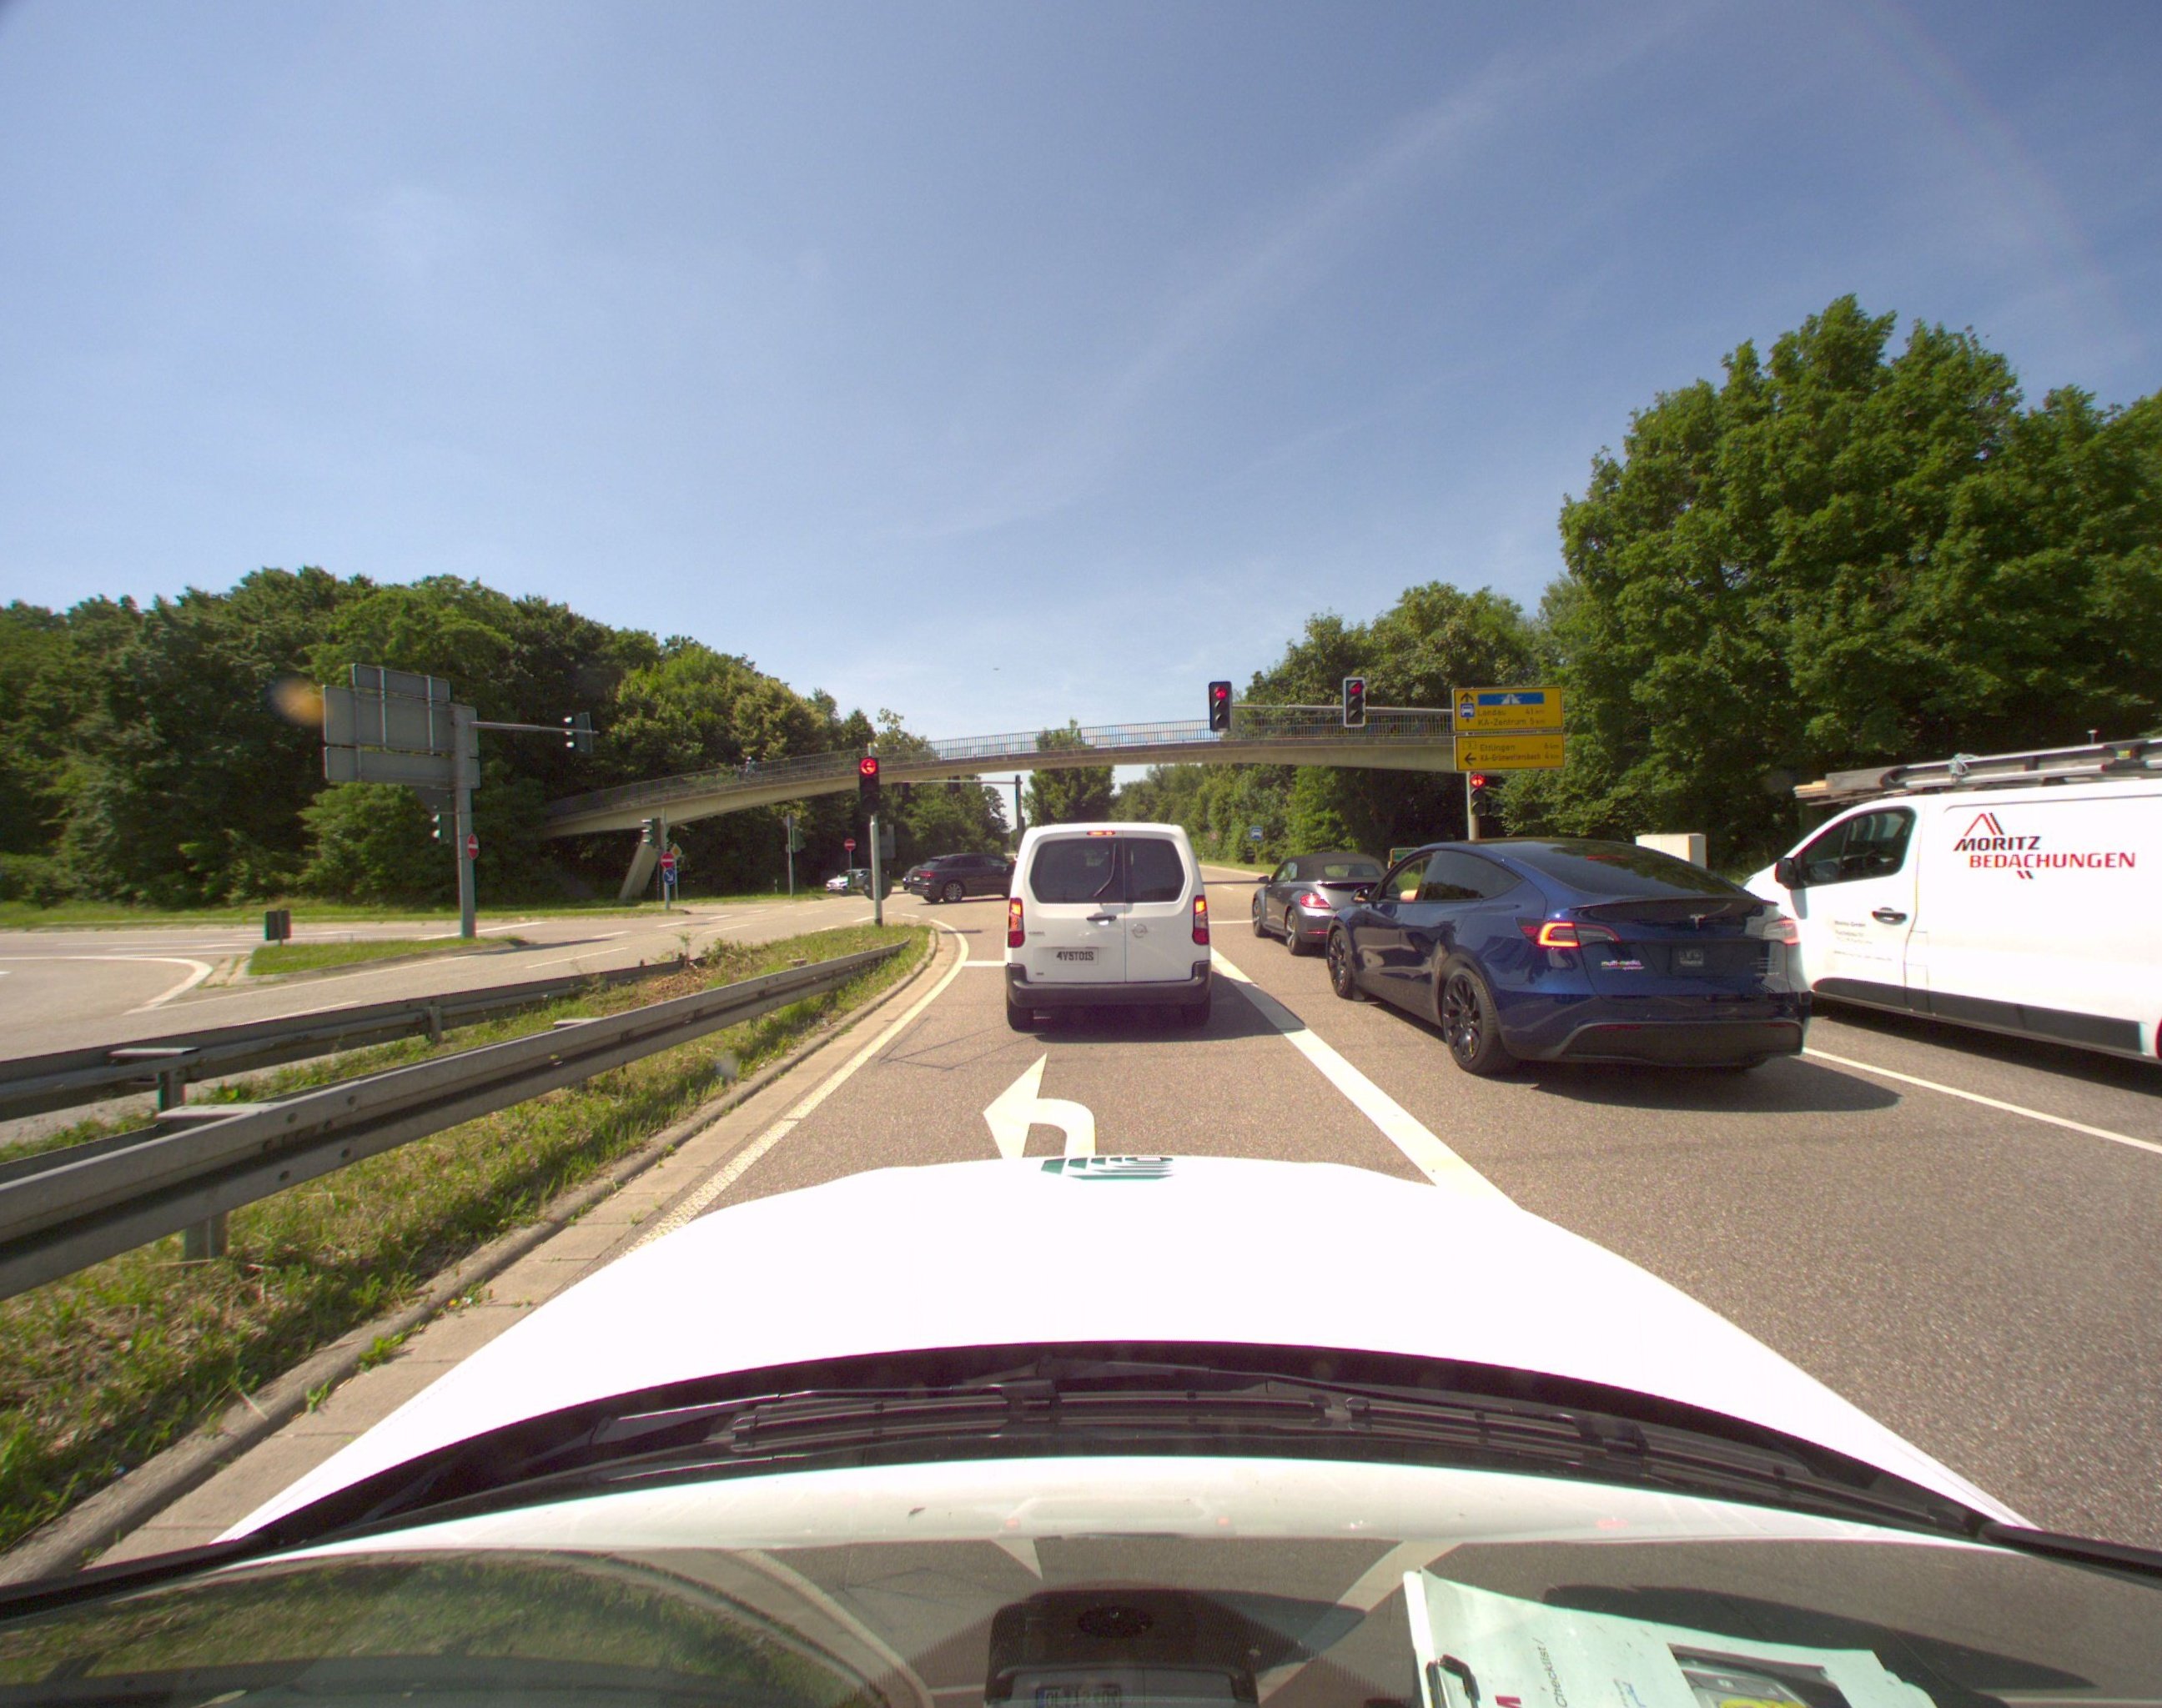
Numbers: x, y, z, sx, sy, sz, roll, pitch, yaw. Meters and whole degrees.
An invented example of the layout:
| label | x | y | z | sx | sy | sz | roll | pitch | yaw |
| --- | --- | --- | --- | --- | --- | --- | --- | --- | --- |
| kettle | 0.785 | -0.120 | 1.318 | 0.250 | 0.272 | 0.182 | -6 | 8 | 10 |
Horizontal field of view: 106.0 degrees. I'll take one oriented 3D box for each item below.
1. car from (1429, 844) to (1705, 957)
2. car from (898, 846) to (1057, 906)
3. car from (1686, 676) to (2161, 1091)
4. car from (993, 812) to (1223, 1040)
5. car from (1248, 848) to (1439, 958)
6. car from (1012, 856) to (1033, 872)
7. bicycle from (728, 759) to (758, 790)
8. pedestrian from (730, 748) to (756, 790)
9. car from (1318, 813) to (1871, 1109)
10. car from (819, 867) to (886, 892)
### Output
| label | x | y | z | sx | sy | sz | roll | pitch | yaw |
| --- | --- | --- | --- | --- | --- | --- | --- | --- | --- |
| car | 7.385 | 0.615 | 12.991 | 1.893 | 1.478 | 4.382 | -1 | 0 | 2 |
| car | -3.581 | 0.737 | 28.556 | 5.105 | 1.699 | 2.027 | -4 | 0 | -32 |
| car | 7.104 | 0.158 | 5.782 | 1.925 | 2.349 | 5.076 | -1 | 0 | 1 |
| car | 0.254 | 0.560 | 8.564 | 1.843 | 1.825 | 3.982 | -1 | 1 | 1 |
| car | 3.962 | 0.661 | 13.017 | 1.893 | 1.478 | 3.940 | -1 | 0 | 2 |
| car | -8.062 | 1.362 | 112.538 | 2.200 | 1.993 | 5.490 | -3 | 0 | 2 |
| bicycle | -18.184 | -4.271 | 43.802 | 1.514 | 1.474 | 0.472 | -4 | -2 | 17 |
| pedestrian | -18.324 | -4.584 | 44.127 | 0.776 | 2.139 | 0.936 | -4 | -2 | 17 |
| car | 3.526 | 0.595 | 6.821 | 1.893 | 1.644 | 4.522 | -1 | 0 | 2 |
| car | -15.329 | 1.701 | 54.923 | 1.978 | 1.373 | 4.803 | -3 | 0 | 17 |
